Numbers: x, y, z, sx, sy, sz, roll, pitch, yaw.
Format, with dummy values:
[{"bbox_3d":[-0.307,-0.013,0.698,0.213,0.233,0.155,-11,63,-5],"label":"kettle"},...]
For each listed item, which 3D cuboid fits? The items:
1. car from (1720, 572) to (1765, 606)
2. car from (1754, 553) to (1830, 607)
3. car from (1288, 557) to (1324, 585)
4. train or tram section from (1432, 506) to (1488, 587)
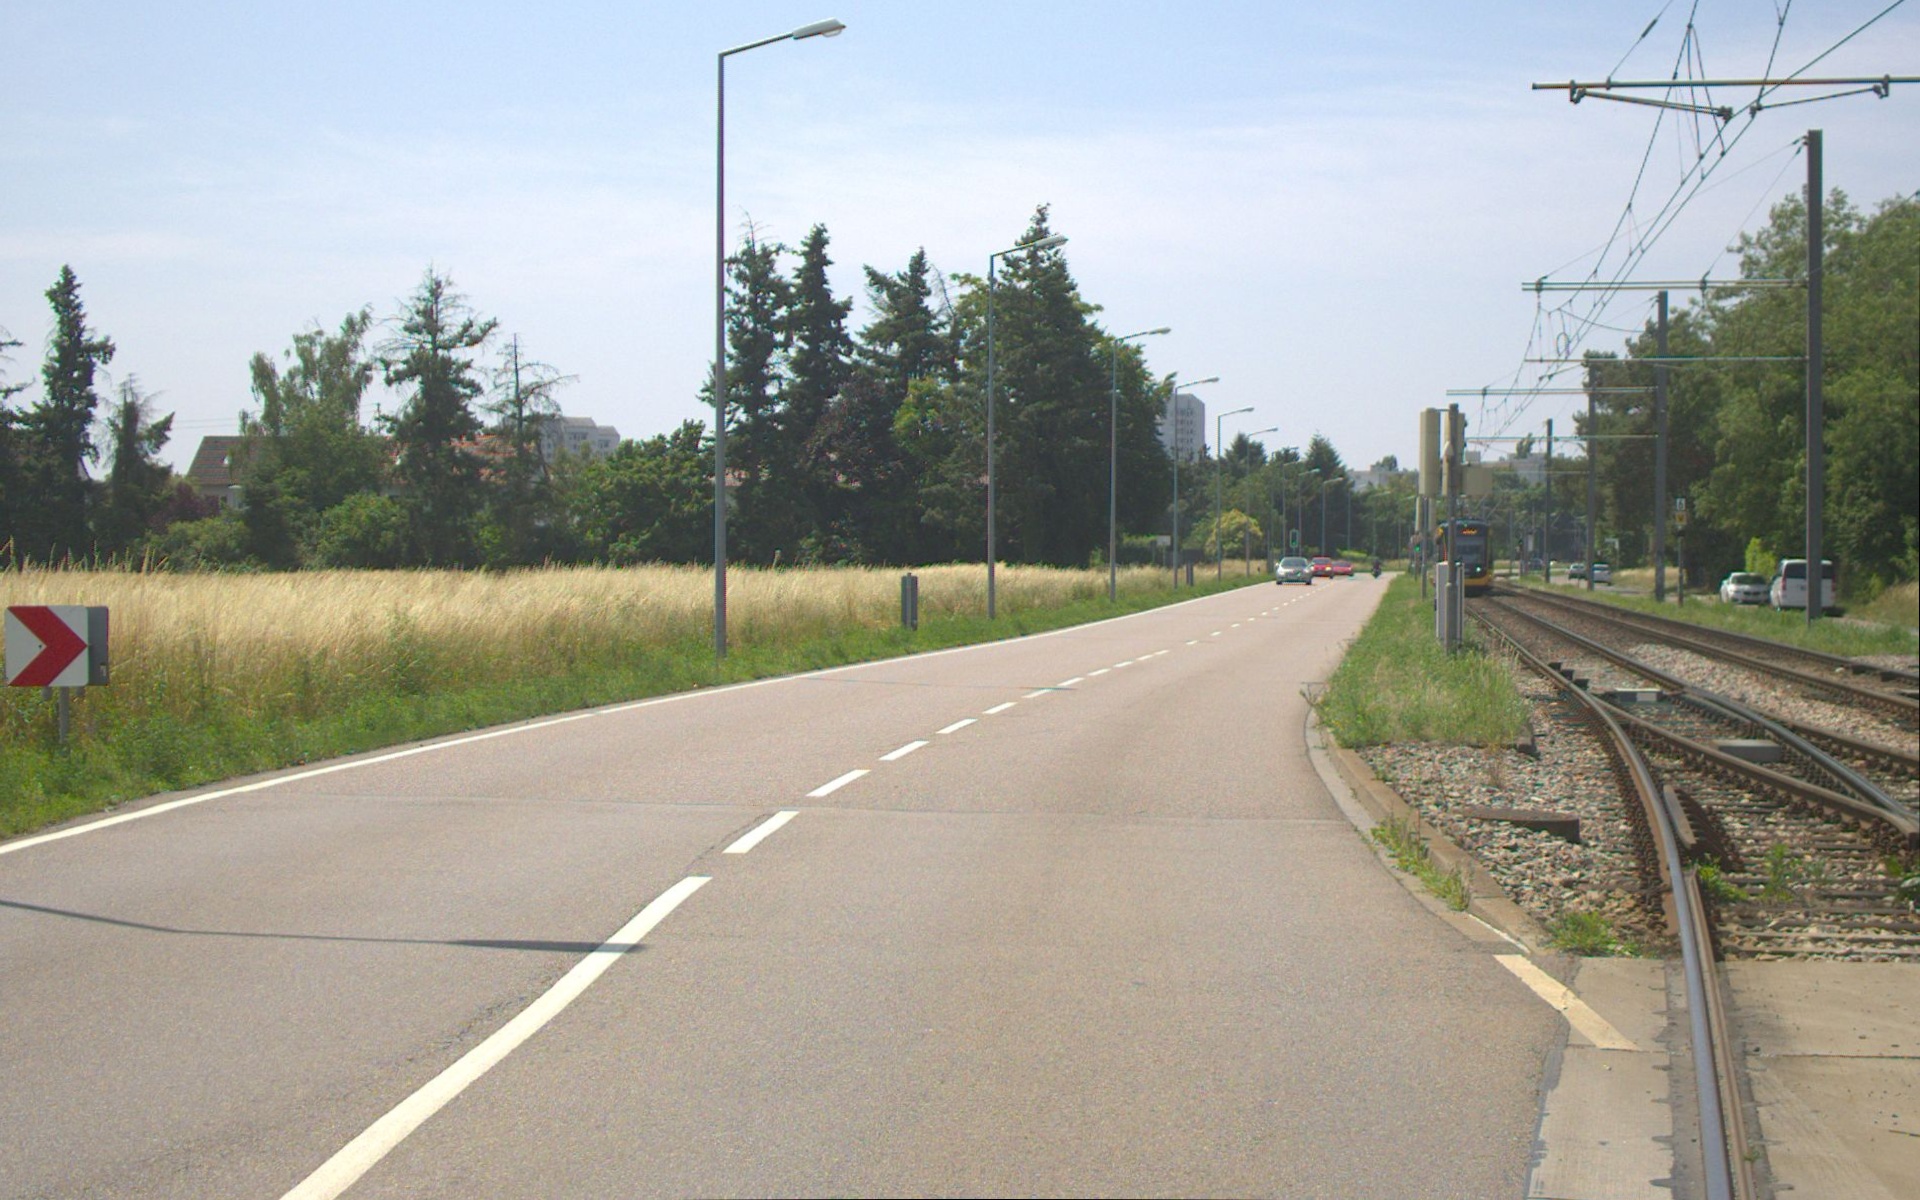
[{"bbox_3d":[31.108,-0.432,136.758,1.428,1.303,3.464,0,0,7],"label":"car"},{"bbox_3d":[28.405,-0.683,117.489,1.994,1.796,4.793,0,0,7],"label":"car"},{"bbox_3d":[18.862,-1.547,187.289,1.835,1.462,4.677,0,0,7],"label":"car"},{"bbox_3d":[24.314,-2.533,167.512,2.430,3.753,11.556,0,0,7],"label":"train or tram section"}]
